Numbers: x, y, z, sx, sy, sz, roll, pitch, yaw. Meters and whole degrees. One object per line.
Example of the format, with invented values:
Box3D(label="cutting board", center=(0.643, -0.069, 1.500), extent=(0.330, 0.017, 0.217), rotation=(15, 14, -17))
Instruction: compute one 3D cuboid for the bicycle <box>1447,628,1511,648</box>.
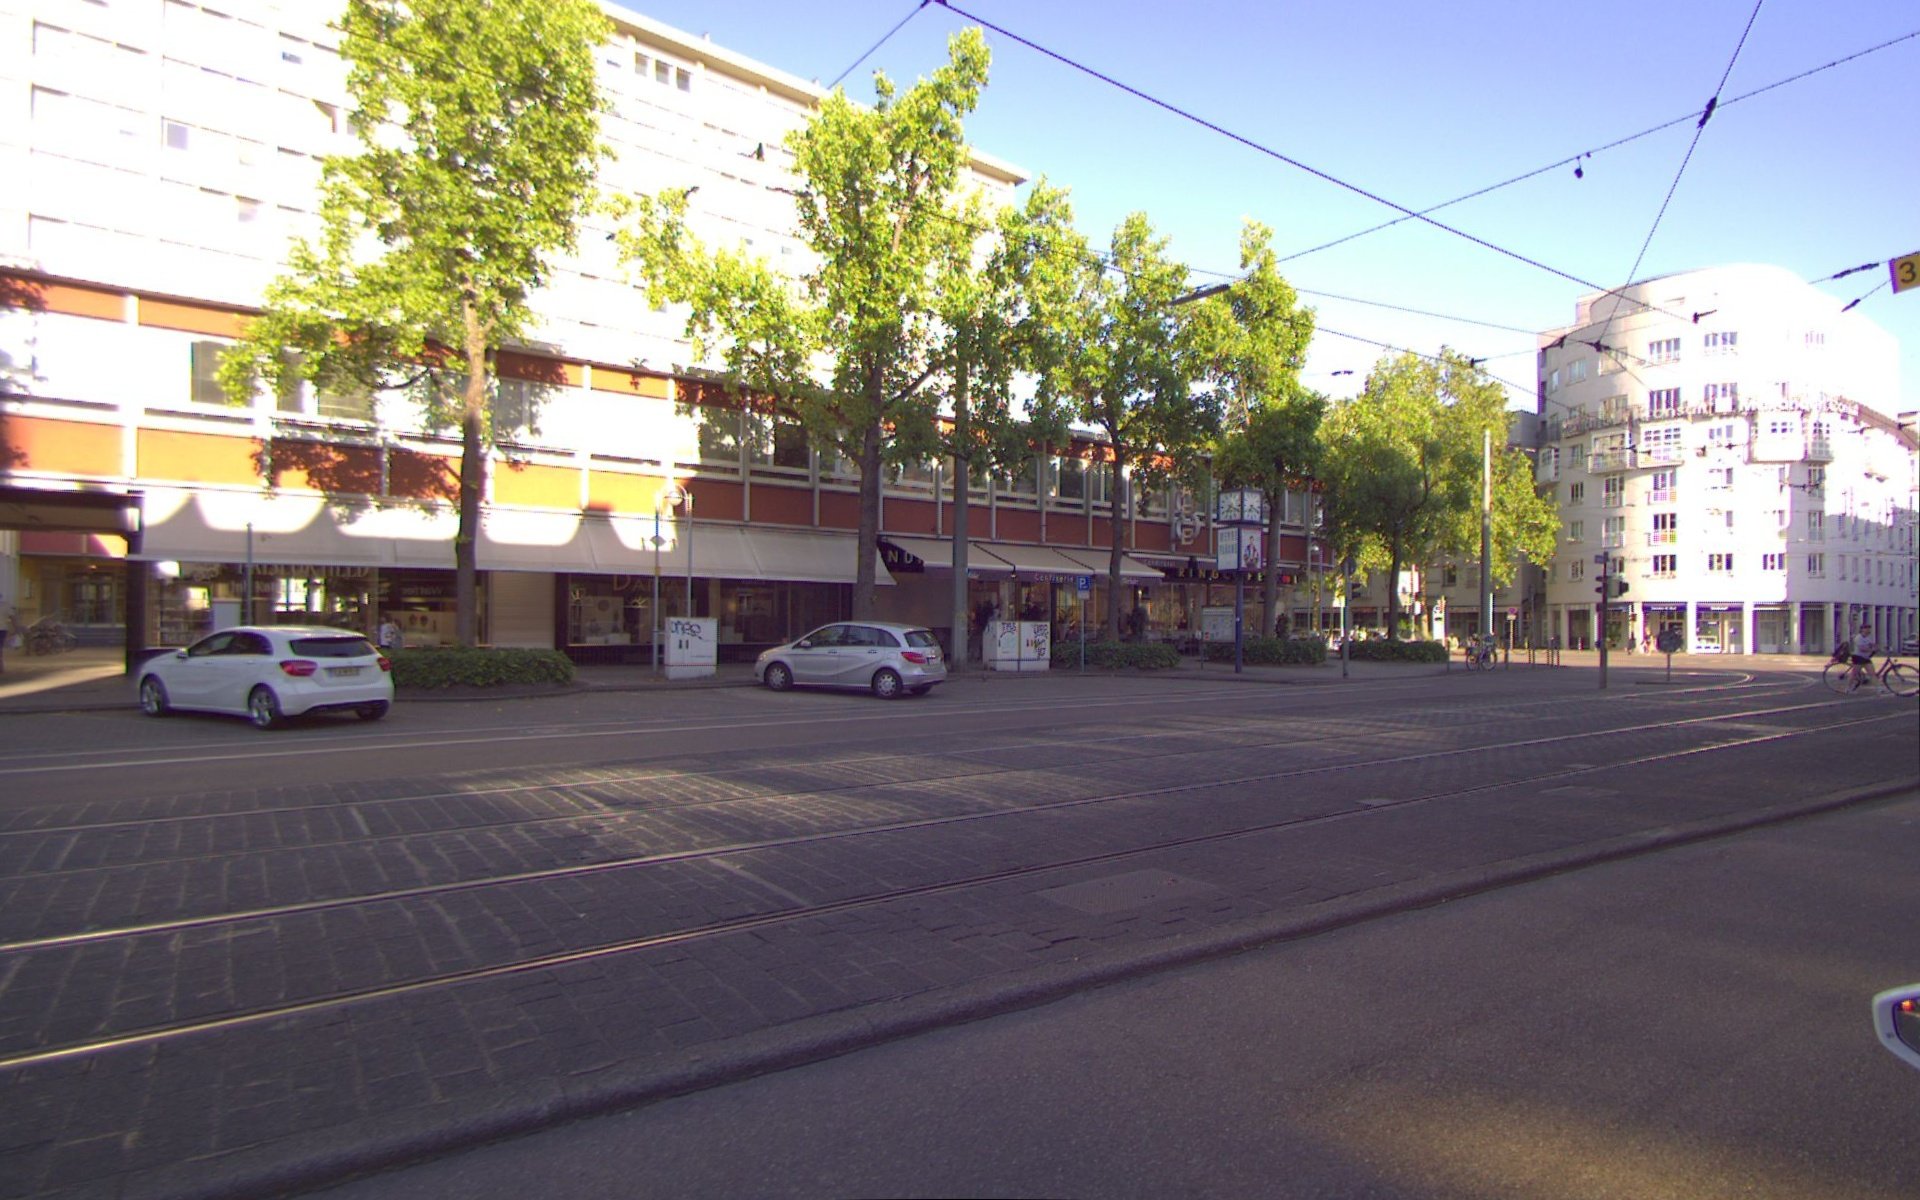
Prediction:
Box3D(label="bicycle", center=(41.169, 3.002, 79.789), extent=(1.055, 1.550, 4.678), rotation=(1, -2, -31))

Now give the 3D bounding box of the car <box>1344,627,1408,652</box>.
Box3D(label="car", center=(27.598, 2.590, 66.743), extent=(1.607, 1.579, 3.997), rotation=(1, -2, -22))

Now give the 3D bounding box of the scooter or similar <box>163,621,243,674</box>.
Box3D(label="scooter or similar", center=(-16.187, 1.007, 21.496), extent=(1.326, 1.108, 0.470), rotation=(2, 0, -38))

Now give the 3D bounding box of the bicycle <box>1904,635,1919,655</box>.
Box3D(label="bicycle", center=(58.169, 2.712, 61.062), extent=(2.030, 1.162, 0.802), rotation=(1, -2, -36))

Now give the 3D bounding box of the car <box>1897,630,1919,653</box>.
Box3D(label="car", center=(67.259, 2.894, 70.332), extent=(3.426, 1.566, 1.754), rotation=(1, -2, -35))

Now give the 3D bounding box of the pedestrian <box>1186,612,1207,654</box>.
Box3D(label="pedestrian", center=(9.840, 1.372, 41.767), extent=(0.590, 1.745, 0.647), rotation=(0, 1, -17))

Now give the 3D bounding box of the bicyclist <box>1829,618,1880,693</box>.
Box3D(label="bicyclist", center=(20.199, 1.240, 22.675), extent=(0.758, 1.648, 0.724), rotation=(2, -1, -37))

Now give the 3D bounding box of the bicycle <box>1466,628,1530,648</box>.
Box3D(label="bicycle", center=(43.423, 3.052, 81.203), extent=(1.055, 1.550, 4.678), rotation=(1, -2, -31))

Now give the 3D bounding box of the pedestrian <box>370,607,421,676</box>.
Box3D(label="pedestrian", center=(-12.724, 0.930, 22.643), extent=(0.892, 1.517, 0.682), rotation=(1, -1, -38))

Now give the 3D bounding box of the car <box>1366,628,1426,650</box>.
Box3D(label="car", center=(32.608, 2.911, 75.135), extent=(1.597, 1.551, 3.968), rotation=(1, -1, -30))

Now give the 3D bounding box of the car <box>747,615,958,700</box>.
Box3D(label="car", center=(-2.356, 1.199, 22.000), extent=(4.198, 1.587, 1.826), rotation=(1, -1, 23))

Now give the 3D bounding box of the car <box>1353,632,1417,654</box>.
Box3D(label="car", center=(25.997, 2.601, 61.540), extent=(1.739, 1.312, 4.011), rotation=(0, -2, -10))

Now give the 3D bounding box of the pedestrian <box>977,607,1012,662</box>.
Box3D(label="pedestrian", center=(1.109, 1.100, 32.408), extent=(0.867, 1.745, 0.699), rotation=(0, 1, -37))

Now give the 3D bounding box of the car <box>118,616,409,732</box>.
Box3D(label="car", center=(-10.796, 1.052, 15.567), extent=(4.188, 1.448, 1.766), rotation=(2, 0, 24))

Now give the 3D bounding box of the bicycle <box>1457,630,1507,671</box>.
Box3D(label="bicycle", center=(18.176, 1.737, 34.944), extent=(1.886, 1.345, 0.667), rotation=(1, 2, -33))

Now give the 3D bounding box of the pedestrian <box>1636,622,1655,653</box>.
Box3D(label="pedestrian", center=(45.193, 2.445, 66.226), extent=(0.929, 2.040, 0.939), rotation=(0, -1, 27))

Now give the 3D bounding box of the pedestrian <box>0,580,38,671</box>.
Box3D(label="pedestrian", center=(-21.016, 0.560, 22.081), extent=(0.987, 1.974, 0.890), rotation=(1, -1, -38))

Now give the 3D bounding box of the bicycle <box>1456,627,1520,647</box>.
Box3D(label="bicycle", center=(42.175, 2.914, 80.309), extent=(1.055, 1.550, 4.678), rotation=(1, -2, -31))

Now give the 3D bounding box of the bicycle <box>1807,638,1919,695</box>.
Box3D(label="bicycle", center=(20.605, 1.481, 22.811), extent=(0.622, 1.193, 2.004), rotation=(2, -1, -36))

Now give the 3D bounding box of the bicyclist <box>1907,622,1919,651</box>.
Box3D(label="bicyclist", center=(58.279, 2.191, 61.146), extent=(0.786, 1.749, 0.802), rotation=(1, -1, -35))

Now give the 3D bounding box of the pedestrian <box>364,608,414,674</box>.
Box3D(label="pedestrian", center=(-13.171, 0.940, 23.155), extent=(0.892, 1.490, 0.682), rotation=(1, -1, -38))
